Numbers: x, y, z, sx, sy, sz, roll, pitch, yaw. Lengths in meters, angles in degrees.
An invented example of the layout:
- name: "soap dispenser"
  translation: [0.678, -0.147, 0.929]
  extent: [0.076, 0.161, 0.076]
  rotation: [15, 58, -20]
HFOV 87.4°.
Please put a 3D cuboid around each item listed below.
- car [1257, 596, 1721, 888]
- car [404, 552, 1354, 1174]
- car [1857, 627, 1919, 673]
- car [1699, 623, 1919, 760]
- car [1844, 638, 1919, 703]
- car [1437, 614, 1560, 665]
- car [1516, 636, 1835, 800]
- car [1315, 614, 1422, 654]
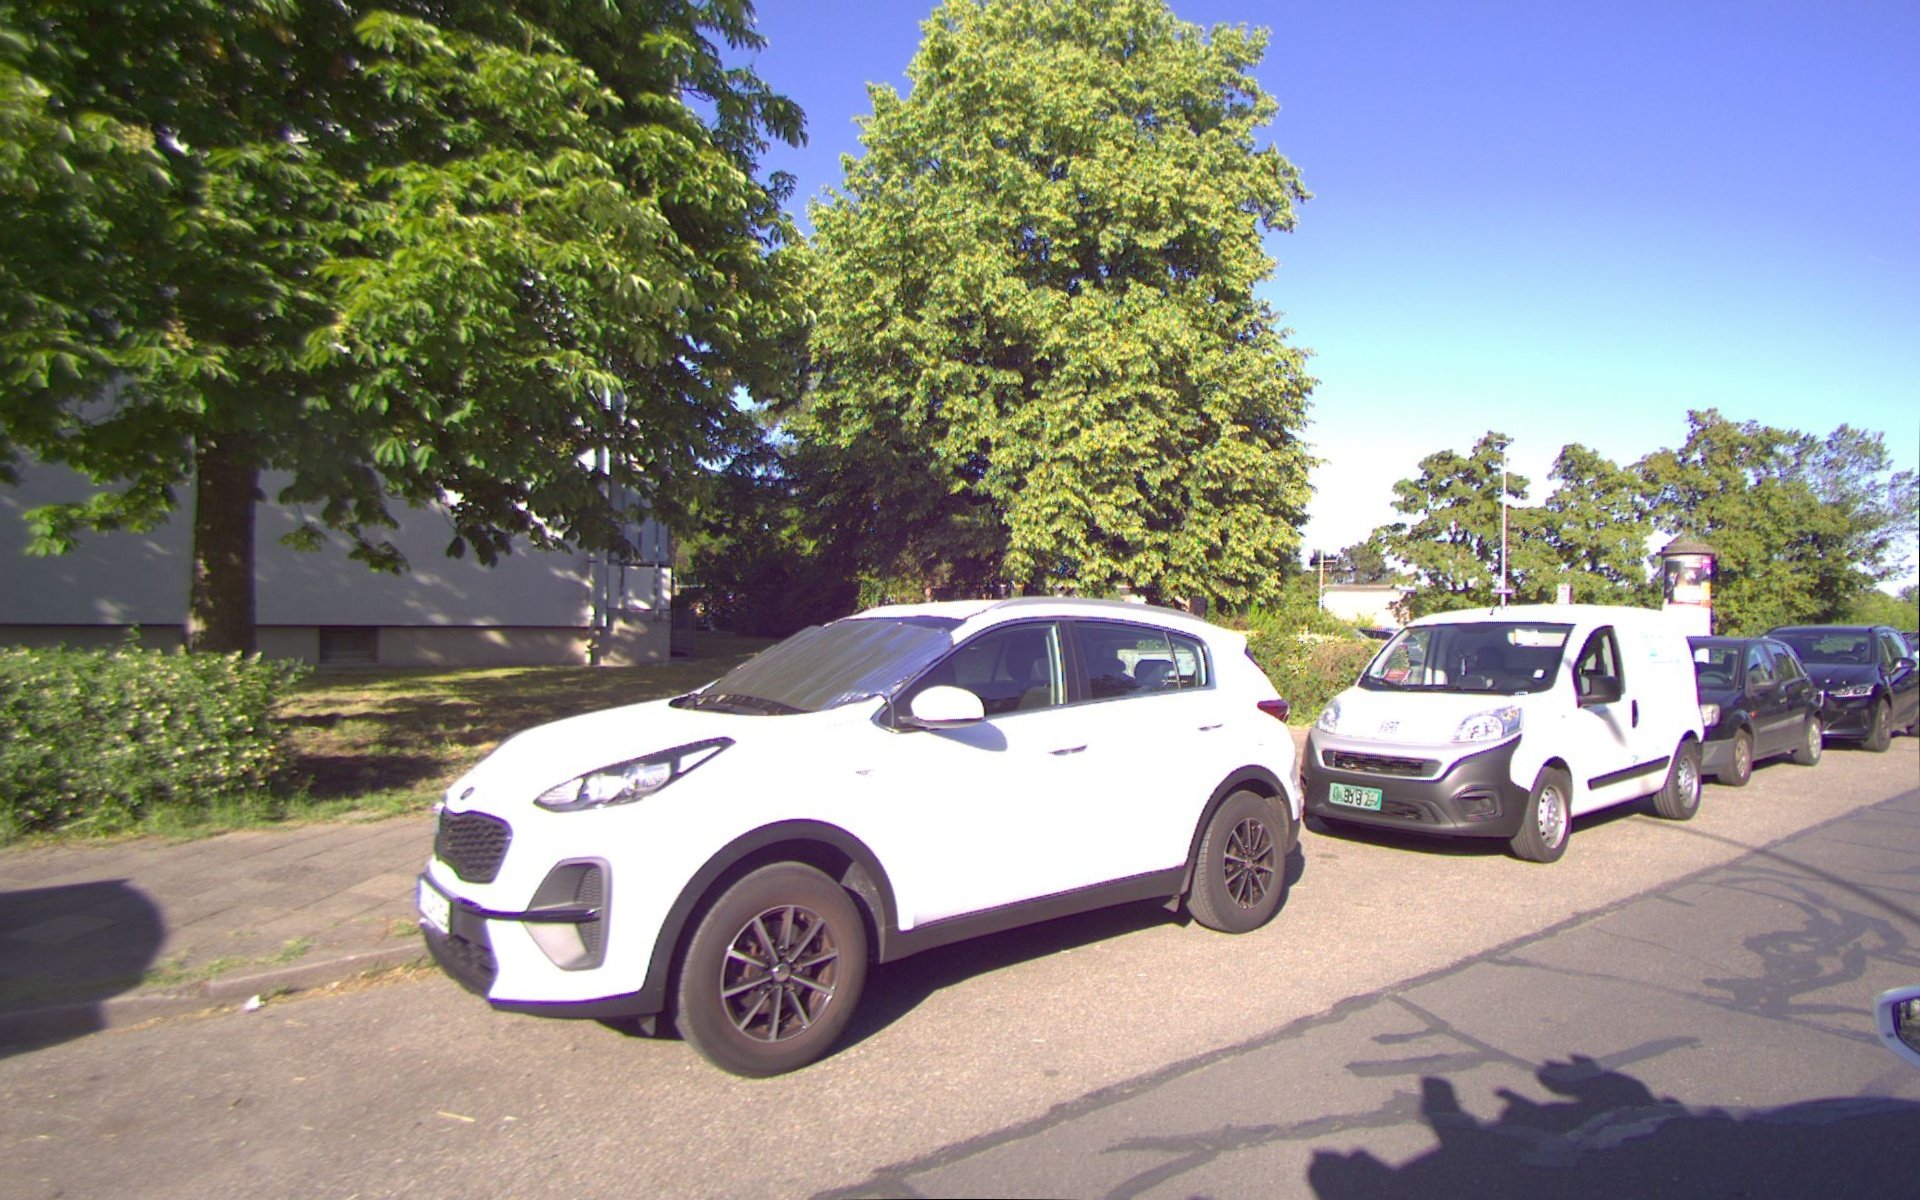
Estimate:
- name: "car"
  translation: [4.300, 0.923, 7.959]
  extent: [3.968, 1.755, 1.734]
  rotation: [2, -2, -37]
- name: "car"
  translation: [-0.046, 0.787, 4.811]
  extent: [4.341, 1.691, 1.732]
  rotation: [2, -2, -39]
- name: "car"
  translation: [35.278, 1.861, 36.343]
  extent: [1.787, 1.582, 4.019]
  rotation: [2, 0, -41]
- name: "car"
  translation: [12.065, 1.159, 13.957]
  extent: [4.267, 1.634, 1.734]
  rotation: [2, -2, -37]
- name: "car"
  translation: [23.198, 1.609, 22.797]
  extent: [4.317, 1.455, 1.842]
  rotation: [-1, -2, 25]
- name: "car"
  translation: [18.896, 1.356, 35.362]
  extent: [1.595, 1.582, 3.467]
  rotation: [2, 0, -41]
- name: "car"
  translation: [8.069, 1.167, 11.212]
  extent: [4.114, 1.498, 1.734]
  rotation: [2, -2, -37]
- name: "car"
  translation: [15.707, 1.299, 38.729]
  extent: [1.595, 1.379, 3.467]
  rotation: [2, 0, -41]
